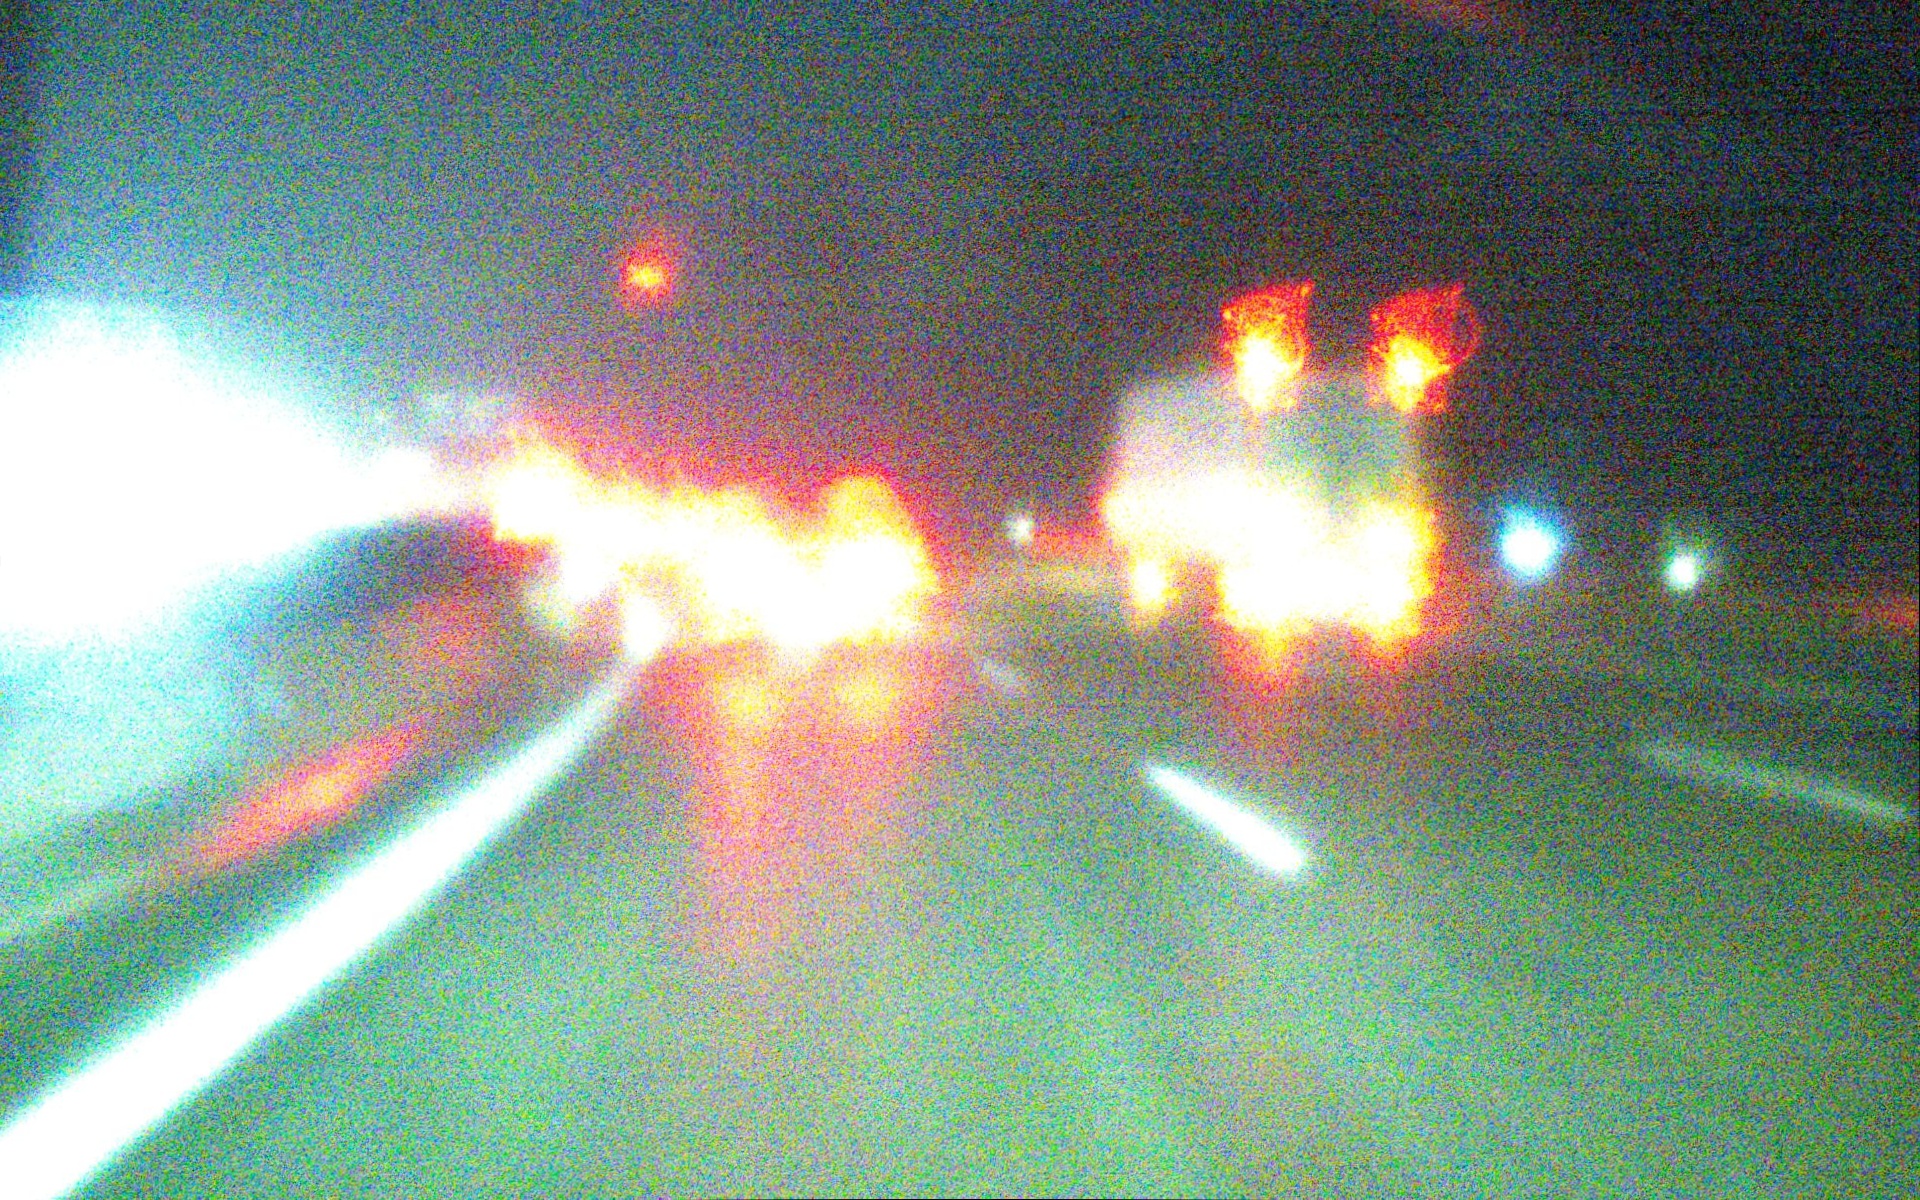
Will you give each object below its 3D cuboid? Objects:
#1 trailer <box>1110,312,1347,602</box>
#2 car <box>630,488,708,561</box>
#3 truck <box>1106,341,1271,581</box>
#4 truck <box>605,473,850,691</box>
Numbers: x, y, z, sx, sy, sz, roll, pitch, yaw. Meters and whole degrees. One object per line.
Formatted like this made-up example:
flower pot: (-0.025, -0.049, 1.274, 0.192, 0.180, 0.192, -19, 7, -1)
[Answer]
trailer: (4.264, -2.353, 57.538, 2.739, 4.233, 13.373, -1, 2, -1)
car: (-8.180, -2.120, 96.938, 1.993, 2.007, 4.000, 0, 1, -2)
truck: (4.190, -2.556, 64.080, 2.710, 4.226, 5.293, 1, 2, 1)
truck: (-2.515, -0.307, 38.909, 2.145, 2.070, 6.604, 5, 2, 0)
